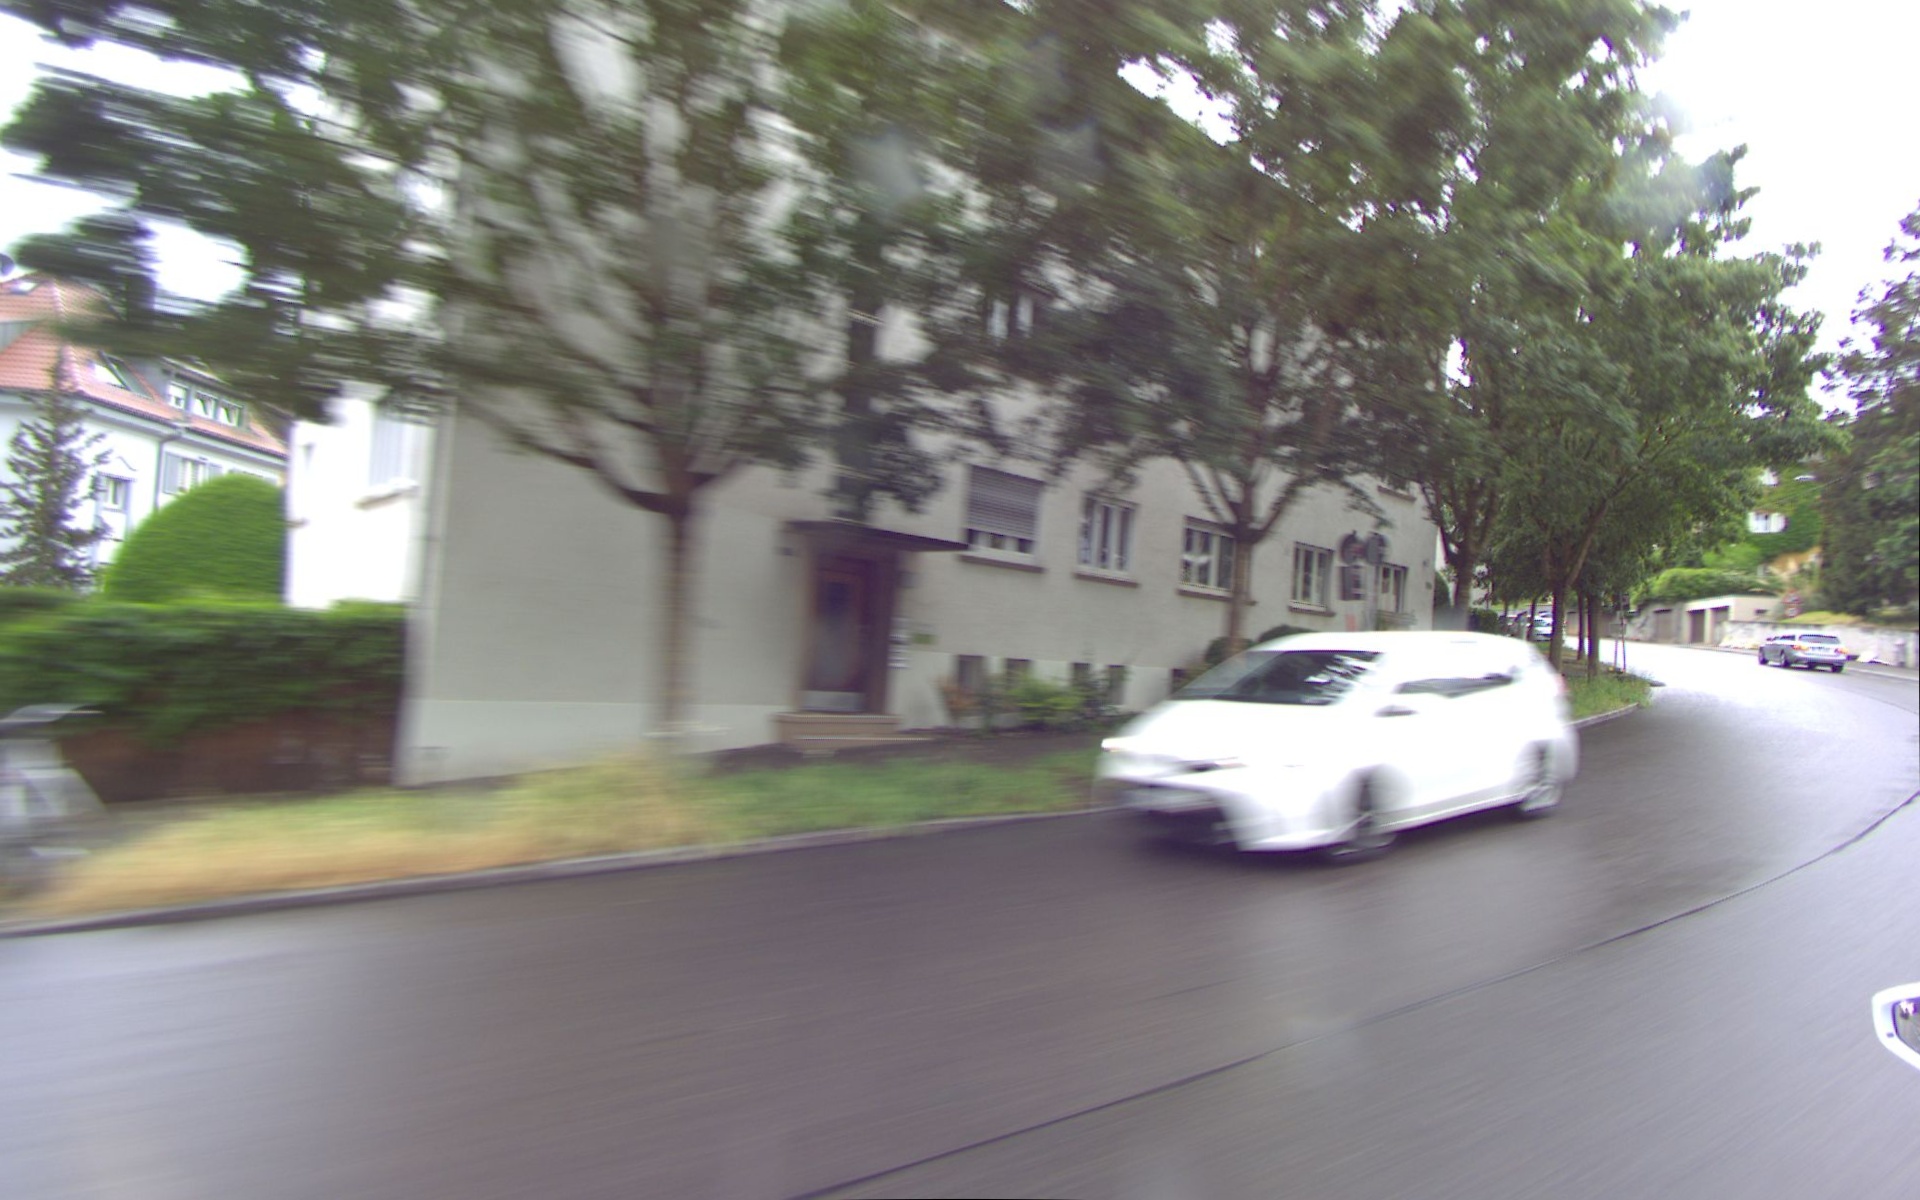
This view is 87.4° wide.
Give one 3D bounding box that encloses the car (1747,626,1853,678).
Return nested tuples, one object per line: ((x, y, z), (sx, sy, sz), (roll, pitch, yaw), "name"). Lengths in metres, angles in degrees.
((32.272, 1.940, 38.744), (1.919, 1.582, 4.260), (2, 2, 23), "car")

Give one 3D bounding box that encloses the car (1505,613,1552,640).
((37.592, 1.728, 66.553), (1.846, 1.617, 4.001), (1, 0, 17), "car")

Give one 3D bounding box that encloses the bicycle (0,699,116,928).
((-5.699, 1.222, 6.121), (0.747, 1.074, 1.948), (1, -1, -38), "bicycle")

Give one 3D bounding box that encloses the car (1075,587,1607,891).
((3.298, 0.920, 8.250), (4.654, 1.811, 1.969), (1, -4, -39), "car")

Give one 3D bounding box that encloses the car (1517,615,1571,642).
((35.972, 1.731, 61.939), (1.960, 1.550, 4.001), (1, 0, 17), "car")

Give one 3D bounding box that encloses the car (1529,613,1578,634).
((50.032, 1.963, 84.733), (1.960, 1.706, 4.002), (1, 0, 4), "car")
